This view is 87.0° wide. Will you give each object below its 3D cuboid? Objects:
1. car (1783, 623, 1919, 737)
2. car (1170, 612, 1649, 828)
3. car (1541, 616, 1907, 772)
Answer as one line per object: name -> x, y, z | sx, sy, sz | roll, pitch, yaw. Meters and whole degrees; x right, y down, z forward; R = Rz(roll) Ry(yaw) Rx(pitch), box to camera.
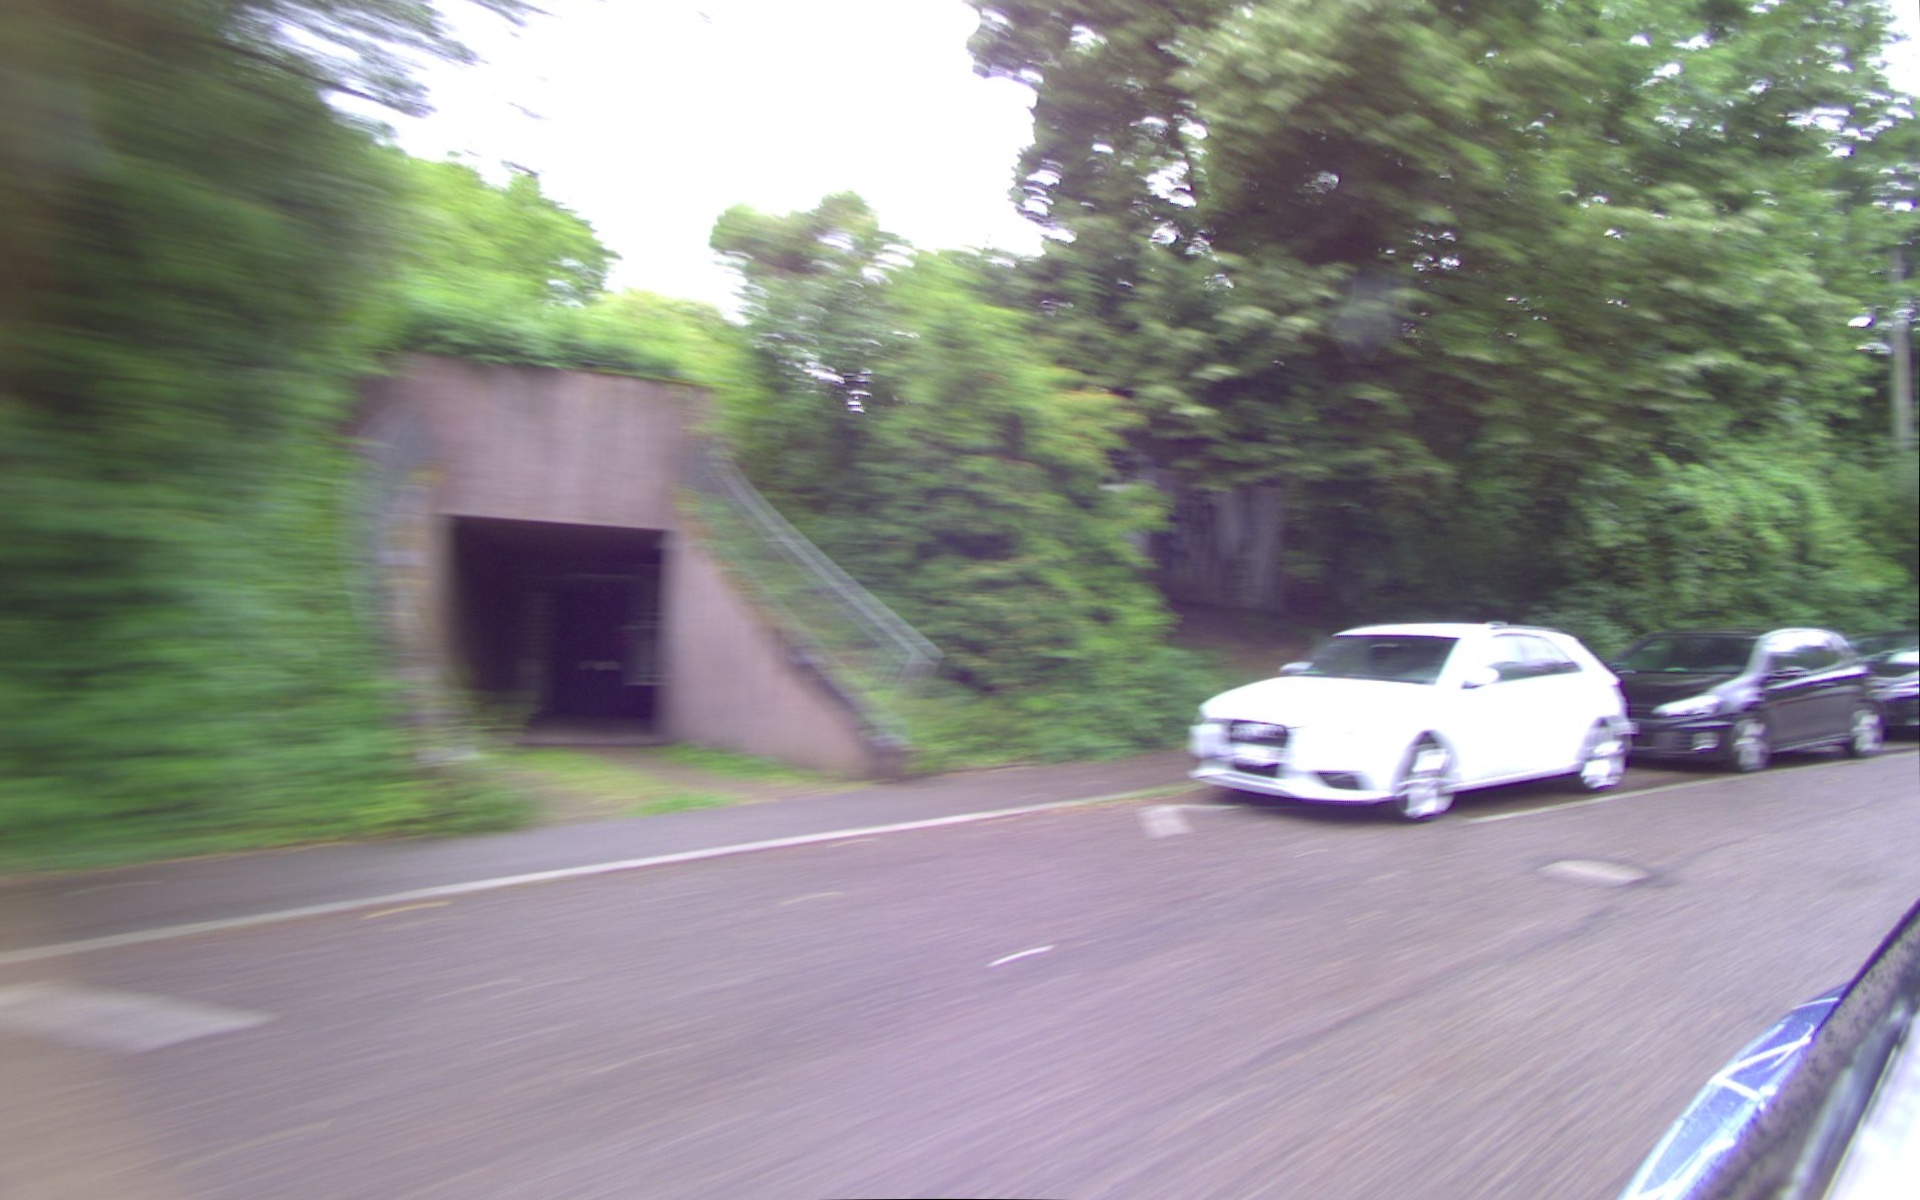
car -> 13.341, 1.051, 13.944 | 3.743, 1.408, 1.596 | 1, -4, -26
car -> 3.851, 0.842, 8.499 | 4.015, 1.418, 1.761 | 1, -2, -33
car -> 8.356, 0.935, 11.034 | 3.887, 1.443, 1.667 | 1, -3, -28
